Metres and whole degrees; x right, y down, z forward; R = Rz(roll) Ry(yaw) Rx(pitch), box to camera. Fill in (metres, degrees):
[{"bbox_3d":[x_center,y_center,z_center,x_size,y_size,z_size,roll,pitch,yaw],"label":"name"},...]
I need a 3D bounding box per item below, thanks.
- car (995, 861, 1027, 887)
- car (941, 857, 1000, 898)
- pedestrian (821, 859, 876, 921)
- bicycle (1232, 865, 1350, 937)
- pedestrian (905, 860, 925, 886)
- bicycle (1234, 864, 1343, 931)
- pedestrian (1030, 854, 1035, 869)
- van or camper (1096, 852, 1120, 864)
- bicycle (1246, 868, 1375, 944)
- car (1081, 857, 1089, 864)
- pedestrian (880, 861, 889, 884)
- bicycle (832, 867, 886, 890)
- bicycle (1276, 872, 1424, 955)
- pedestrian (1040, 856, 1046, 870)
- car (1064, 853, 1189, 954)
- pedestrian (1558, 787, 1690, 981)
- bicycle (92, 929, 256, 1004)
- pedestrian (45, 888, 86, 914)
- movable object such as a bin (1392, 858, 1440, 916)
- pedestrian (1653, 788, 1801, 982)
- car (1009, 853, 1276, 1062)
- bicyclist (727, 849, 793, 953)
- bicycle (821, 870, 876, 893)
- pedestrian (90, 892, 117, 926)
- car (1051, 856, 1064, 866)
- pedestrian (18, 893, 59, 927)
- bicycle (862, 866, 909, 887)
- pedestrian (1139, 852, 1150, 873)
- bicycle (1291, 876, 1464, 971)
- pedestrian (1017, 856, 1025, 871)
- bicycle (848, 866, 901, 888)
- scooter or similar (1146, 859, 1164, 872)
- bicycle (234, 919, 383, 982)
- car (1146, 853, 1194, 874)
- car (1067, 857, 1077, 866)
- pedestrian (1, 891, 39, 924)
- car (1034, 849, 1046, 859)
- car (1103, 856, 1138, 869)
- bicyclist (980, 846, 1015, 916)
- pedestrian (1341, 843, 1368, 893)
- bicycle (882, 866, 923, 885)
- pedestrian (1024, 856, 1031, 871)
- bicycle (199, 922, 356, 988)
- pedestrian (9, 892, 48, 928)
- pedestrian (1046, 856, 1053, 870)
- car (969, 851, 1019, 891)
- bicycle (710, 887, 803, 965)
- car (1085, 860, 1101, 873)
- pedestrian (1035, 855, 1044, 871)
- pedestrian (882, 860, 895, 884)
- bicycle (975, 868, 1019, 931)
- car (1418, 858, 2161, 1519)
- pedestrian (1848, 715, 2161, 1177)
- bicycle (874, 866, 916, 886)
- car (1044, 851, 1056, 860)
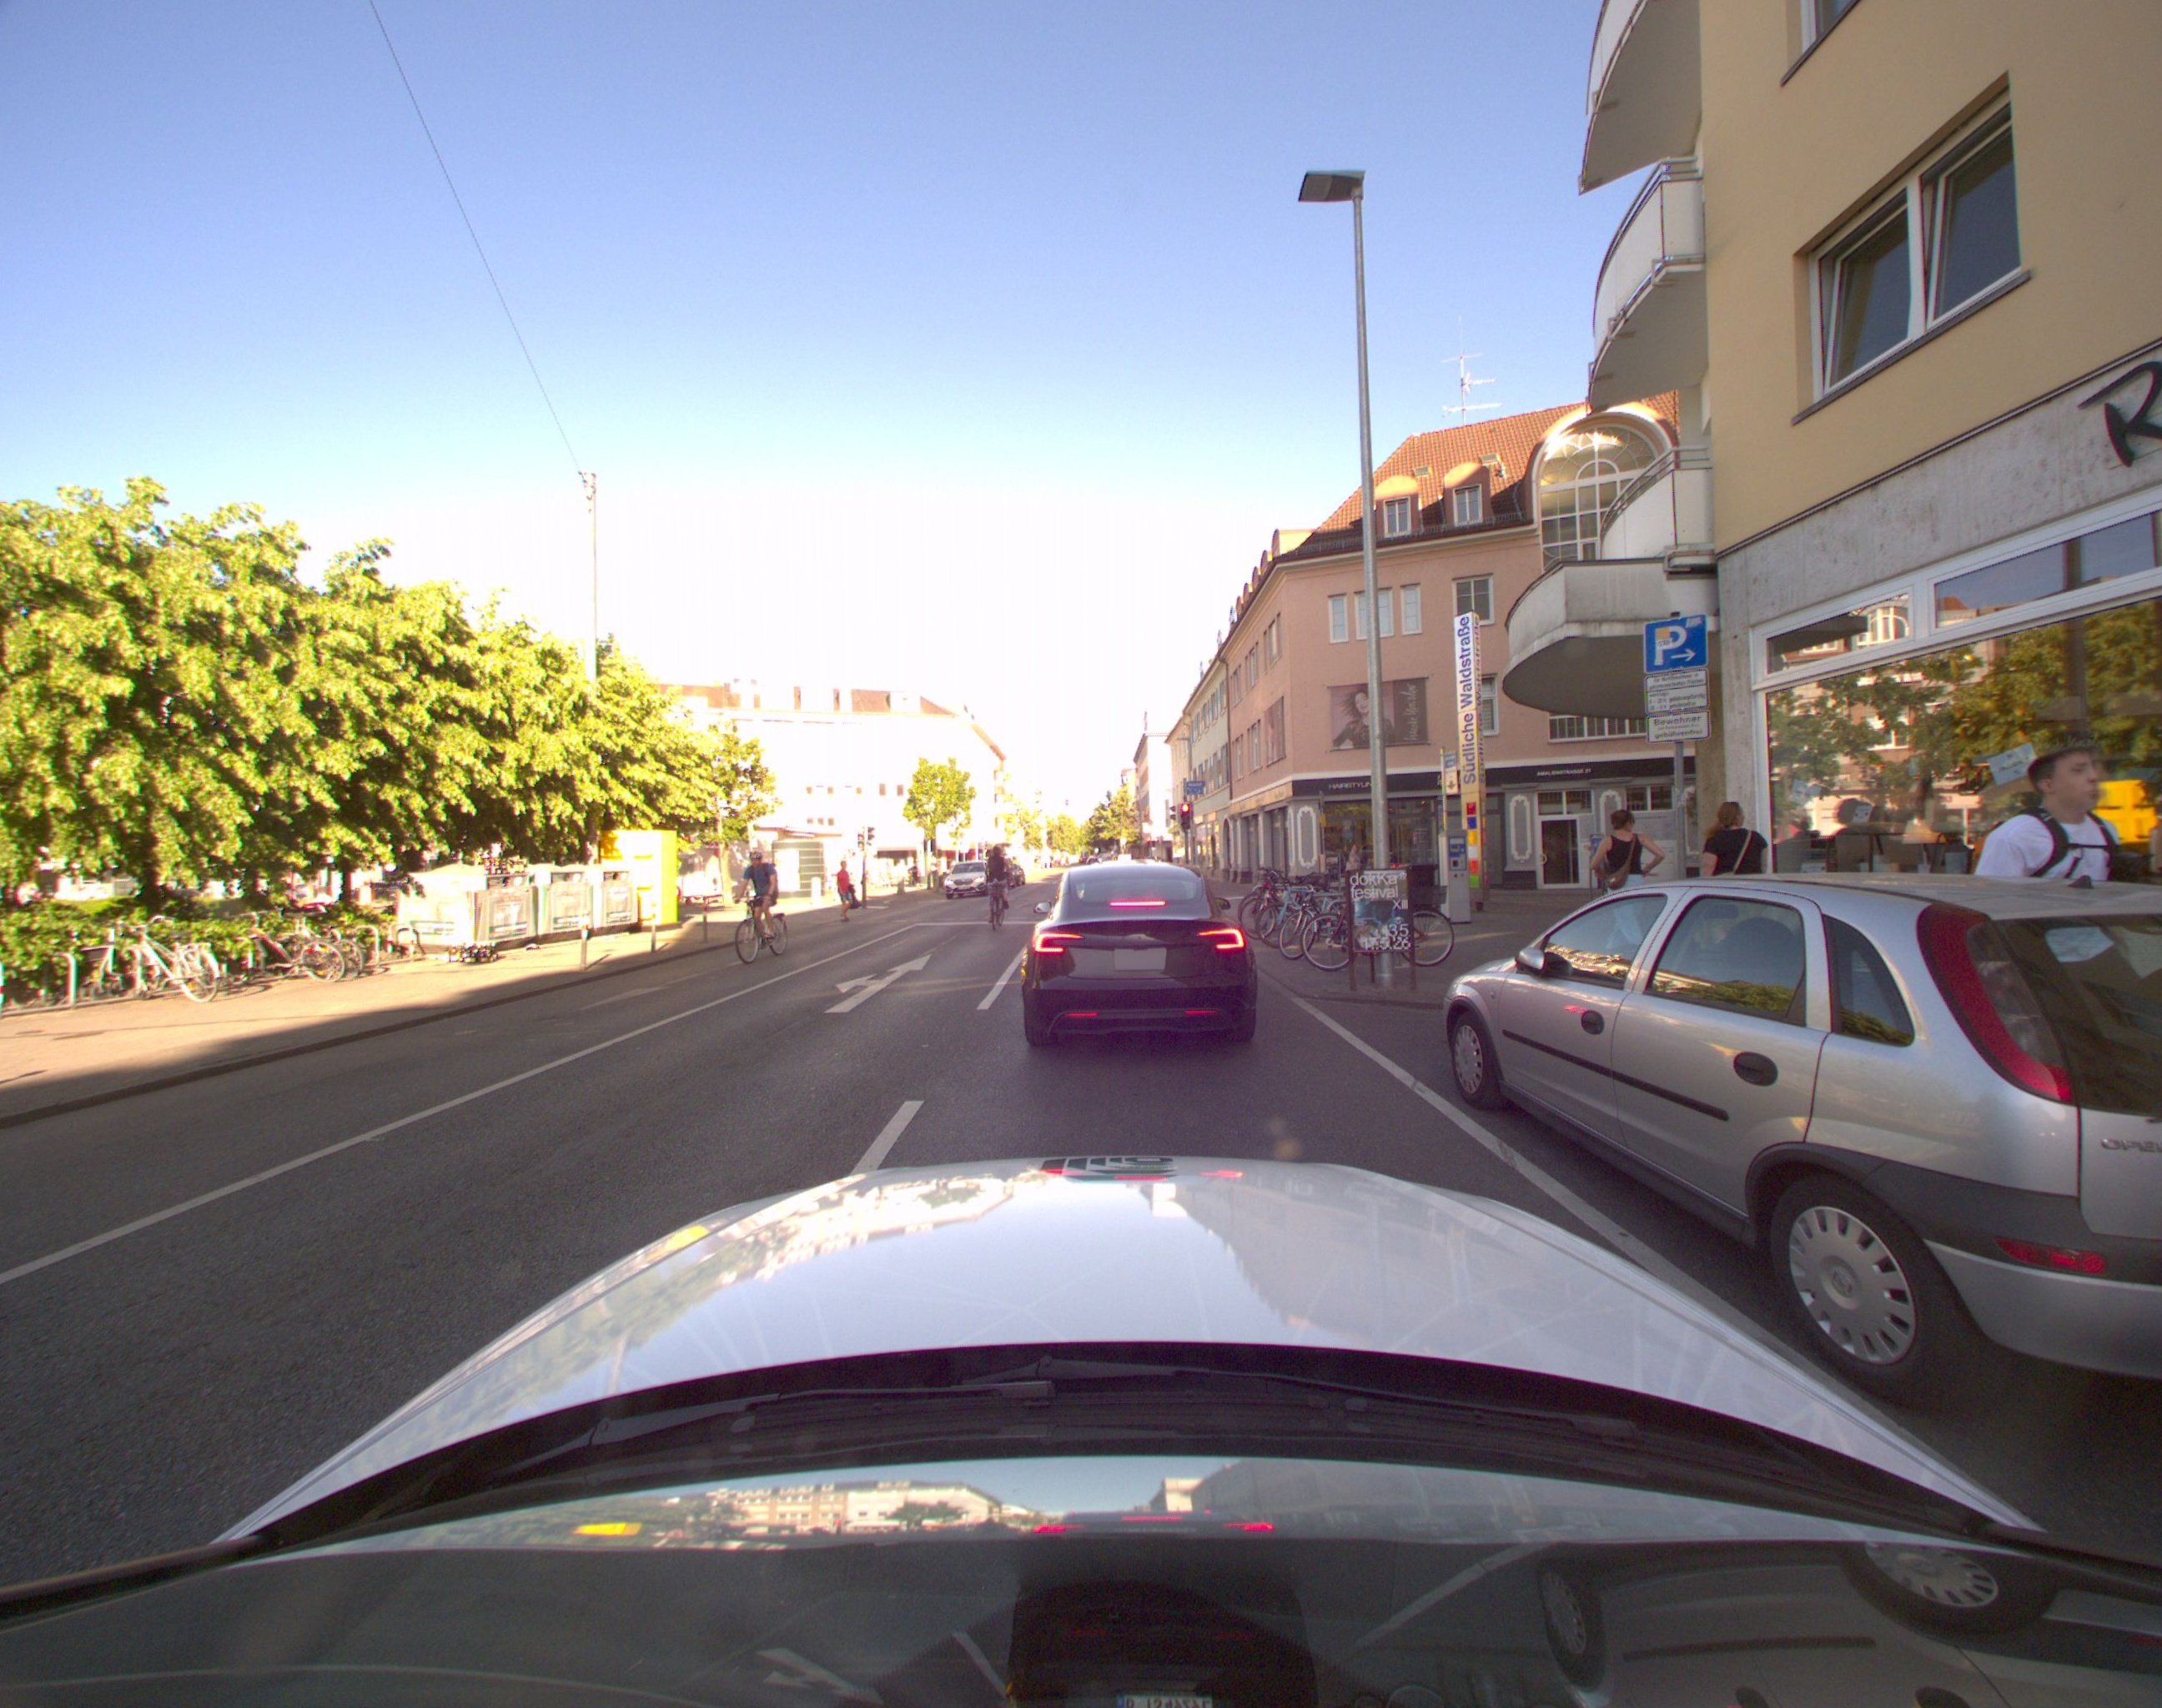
[{"bbox_3d":[-4.258,1.204,50.056,1.455,1.430,3.607,-5,-1,2],"label":"car"},{"bbox_3d":[-4.885,1.015,36.607,1.818,1.565,4.302,-5,-1,2],"label":"car"},{"bbox_3d":[-6.625,1.018,23.252,1.101,1.719,1.066,-1,-1,17],"label":"pedestrian"},{"bbox_3d":[3.495,0.775,13.651,1.806,1.152,0.653,-1,0,3],"label":"bicycle"},{"bbox_3d":[-10.366,1.177,50.778,1.091,1.611,1.264,0,-1,-6],"label":"pedestrian"},{"bbox_3d":[3.736,0.783,14.781,1.806,1.152,0.653,-1,0,3],"label":"bicycle"},{"bbox_3d":[-6.216,0.977,104.234,0.693,1.868,0.658,0,-1,-3],"label":"pedestrian"},{"bbox_3d":[5.634,0.853,167.669,4.832,2.438,1.851,-1,0,1],"label":"van or camper"},{"bbox_3d":[3.517,0.791,12.576,1.806,1.102,0.653,-1,0,3],"label":"bicycle"},{"bbox_3d":[1.064,1.602,204.753,1.886,1.813,3.925,0,-1,0],"label":"car"},{"bbox_3d":[-14.908,1.381,61.813,0.659,1.760,0.650,0,-1,-15],"label":"pedestrian"},{"bbox_3d":[-12.395,1.369,45.597,2.772,1.274,0.933,0,-1,-2],"label":"bicycle"},{"bbox_3d":[3.655,0.797,11.165,1.806,1.060,0.653,-1,0,3],"label":"bicycle"},{"bbox_3d":[-5.243,1.245,112.796,0.696,1.868,0.904,0,-1,-16],"label":"pedestrian"},{"bbox_3d":[0.741,0.749,14.316,1.843,1.482,4.453,0,0,2],"label":"car"},{"bbox_3d":[5.561,0.298,8.399,0.677,1.849,0.895,-5,-1,8],"label":"pedestrian"},{"bbox_3d":[-11.463,1.416,10.315,1.560,0.886,0.470,0,-1,1],"label":"bicycle"},{"bbox_3d":[-49.629,2.306,39.800,0.860,1.214,0.902,0,-1,6],"label":"pedestrian"},{"bbox_3d":[6.743,0.659,16.431,0.633,1.103,0.728,-4,-1,5],"label":"movable object such as a bin"},{"bbox_3d":[6.260,0.291,7.946,0.718,1.754,0.789,-4,-1,5],"label":"pedestrian"},{"bbox_3d":[0.494,0.738,7.892,1.843,1.447,4.453,0,0,2],"label":"car"},{"bbox_3d":[-5.530,0.799,14.078,0.698,1.709,0.811,-3,-1,4],"label":"bicyclist"},{"bbox_3d":[-12.327,1.437,43.254,2.652,1.195,0.942,0,-1,-1],"label":"bicycle"},{"bbox_3d":[-46.134,2.593,38.447,0.827,1.520,0.782,-1,-1,38],"label":"pedestrian"},{"bbox_3d":[-4.859,1.322,166.818,2.405,1.970,4.679,-1,0,2],"label":"car"},{"bbox_3d":[-49.507,2.656,38.681,1.029,1.520,1.023,0,-1,-43],"label":"pedestrian"},{"bbox_3d":[-12.056,1.386,50.311,2.655,1.259,0.942,0,-1,-1],"label":"bicycle"},{"bbox_3d":[5.374,0.695,69.078,0.660,1.760,0.649,0,-1,-22],"label":"pedestrian"},{"bbox_3d":[3.635,0.845,10.092,1.875,1.044,0.653,-2,0,3],"label":"bicycle"},{"bbox_3d":[-7.183,1.133,97.271,0.734,1.868,0.787,0,-1,-15],"label":"pedestrian"},{"bbox_3d":[-12.156,1.362,47.993,2.867,1.270,0.942,0,-1,-1],"label":"bicycle"},{"bbox_3d":[6.326,0.997,69.455,1.339,1.134,0.804,0,-1,-23],"label":"scooter or similar"},{"bbox_3d":[-11.463,1.423,12.111,1.663,0.859,0.469,0,-1,-5],"label":"bicycle"},{"bbox_3d":[8.145,0.873,74.659,4.006,1.867,1.686,-1,0,-20],"label":"car"},{"bbox_3d":[-1.998,1.778,187.438,2.124,1.970,4.135,-1,0,2],"label":"car"},{"bbox_3d":[-61.548,3.074,47.235,1.088,1.842,1.309,-1,-1,36],"label":"pedestrian"},{"bbox_3d":[-9.020,-0.013,180.147,2.266,2.014,4.720,0,-1,3],"label":"car"},{"bbox_3d":[4.143,0.869,84.672,1.677,1.390,3.941,-1,-1,38],"label":"car"},{"bbox_3d":[-1.809,0.583,17.812,0.603,1.484,0.959,0,-1,3],"label":"bicyclist"},{"bbox_3d":[8.690,0.439,25.863,0.716,1.549,0.795,-1,-1,12],"label":"pedestrian"},{"bbox_3d":[-12.055,1.419,55.013,2.535,1.251,0.942,0,-1,-1],"label":"bicycle"},{"bbox_3d":[-6.418,1.130,97.519,0.734,1.868,0.787,0,-1,-15],"label":"pedestrian"},{"bbox_3d":[-11.428,1.422,11.612,1.667,0.859,0.469,0,-1,-5],"label":"bicycle"},{"bbox_3d":[-47.797,2.536,37.003,0.928,1.520,0.924,0,-1,-43],"label":"pedestrian"},{"bbox_3d":[-4.203,1.208,109.199,0.775,1.868,1.004,0,-1,-14],"label":"pedestrian"},{"bbox_3d":[-4.497,0.834,42.930,1.938,1.947,4.822,-1,0,2],"label":"car"},{"bbox_3d":[-5.513,1.189,13.975,0.613,1.162,1.960,-3,-1,4],"label":"bicycle"},{"bbox_3d":[1.624,1.699,112.980,2.029,1.788,4.005,-1,0,0],"label":"car"},{"bbox_3d":[-4.883,1.099,95.028,0.726,1.868,0.796,-1,-1,30],"label":"pedestrian"},{"bbox_3d":[-14.457,1.358,61.121,0.846,1.760,0.702,0,-1,-19],"label":"pedestrian"},{"bbox_3d":[-1.810,0.953,17.755,0.625,1.223,2.002,0,1,3],"label":"bicycle"},{"bbox_3d":[2.959,0.738,3.556,1.578,1.426,3.581,0,-1,2],"label":"car"},{"bbox_3d":[4.354,0.363,3.700,0.805,1.823,0.984,-1,-1,5],"label":"pedestrian"},{"bbox_3d":[-12.001,1.399,52.586,2.535,1.251,0.942,0,-1,-1],"label":"bicycle"},{"bbox_3d":[-7.164,0.290,188.742,2.266,2.014,4.720,0,-1,3],"label":"car"}]
